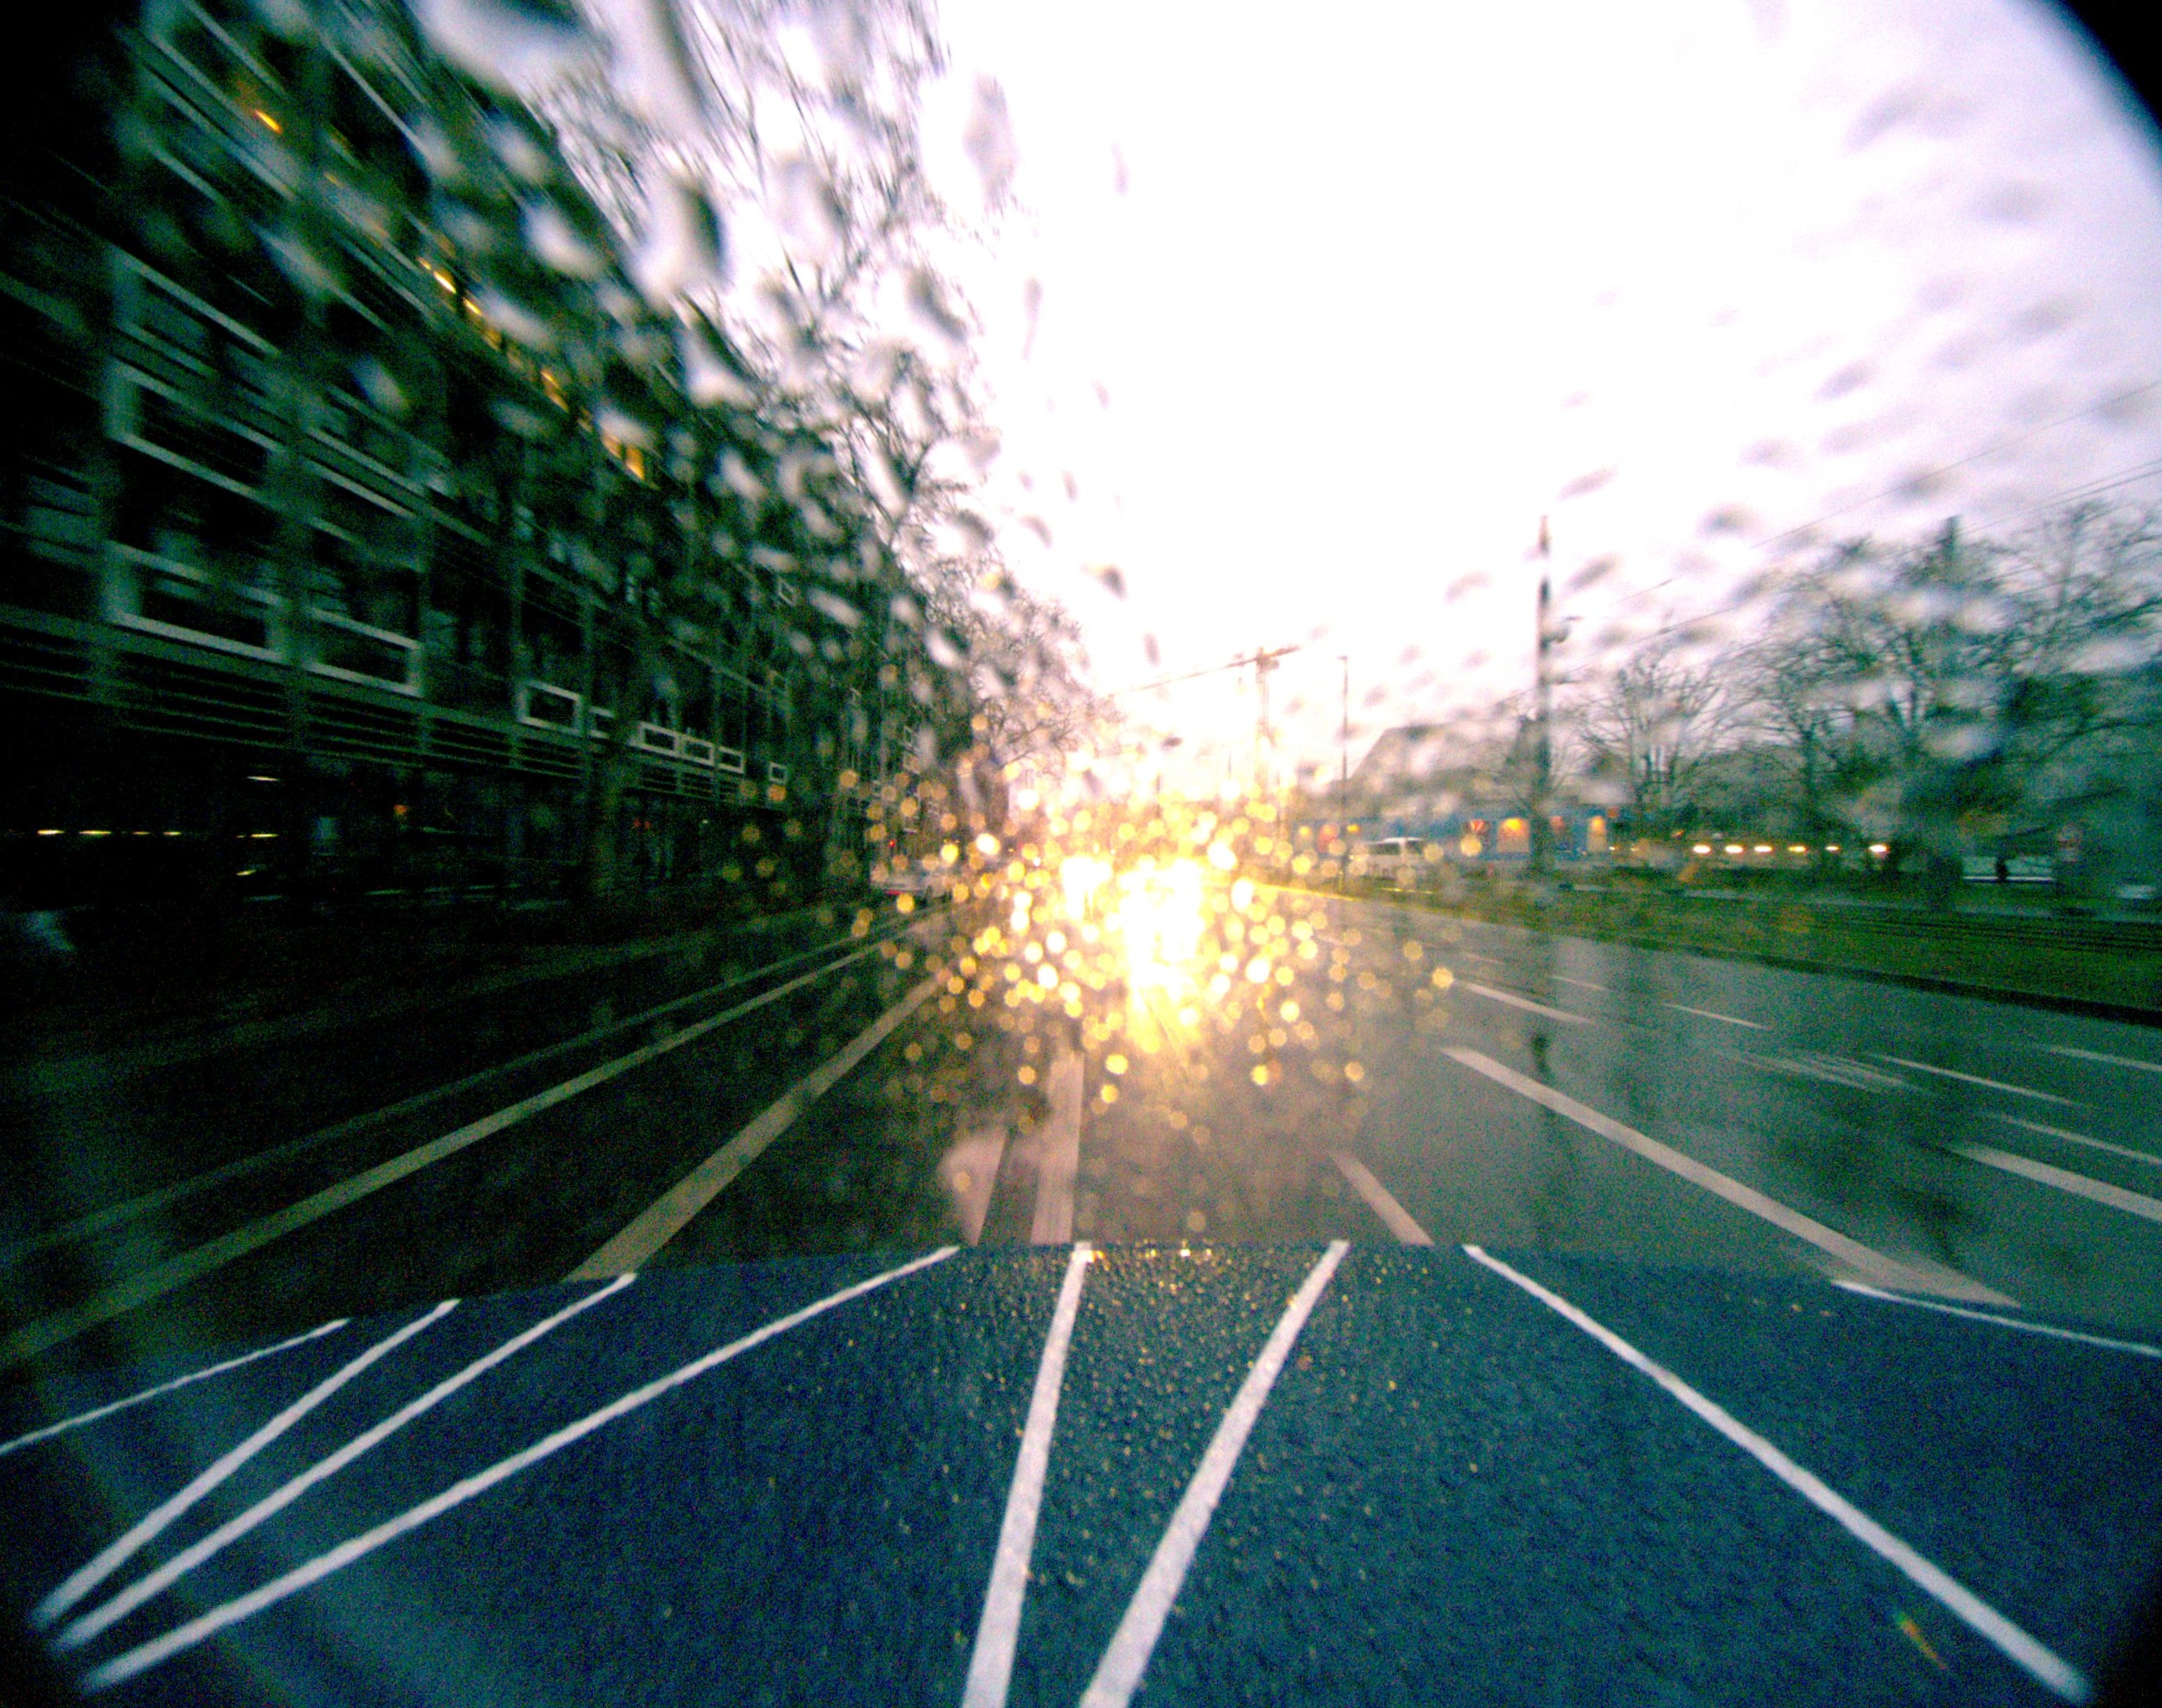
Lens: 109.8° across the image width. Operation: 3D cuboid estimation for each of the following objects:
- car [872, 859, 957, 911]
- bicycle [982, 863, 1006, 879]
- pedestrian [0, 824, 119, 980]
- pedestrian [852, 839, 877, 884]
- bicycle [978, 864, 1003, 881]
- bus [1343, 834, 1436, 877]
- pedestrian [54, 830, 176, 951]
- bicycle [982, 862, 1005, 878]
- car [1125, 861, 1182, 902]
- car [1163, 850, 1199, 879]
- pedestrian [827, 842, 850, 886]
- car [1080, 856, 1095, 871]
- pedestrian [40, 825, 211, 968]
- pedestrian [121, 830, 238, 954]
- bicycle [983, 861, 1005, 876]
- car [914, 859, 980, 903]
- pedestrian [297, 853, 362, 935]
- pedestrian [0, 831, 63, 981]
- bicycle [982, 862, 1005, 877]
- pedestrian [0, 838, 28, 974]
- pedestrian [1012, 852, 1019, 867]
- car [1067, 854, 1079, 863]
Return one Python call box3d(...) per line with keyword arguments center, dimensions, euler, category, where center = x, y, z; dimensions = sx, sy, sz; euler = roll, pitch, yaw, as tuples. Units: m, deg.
box3d(center=(-5.323, 0.936, 24.769), dimensions=(1.607, 1.424, 3.931), euler=(3, 1, 4), category="car")
box3d(center=(-5.696, 1.125, 49.717), dimensions=(1.523, 1.030, 0.469), euler=(-1, 1, -5), category="bicycle")
box3d(center=(-11.616, 0.508, 8.532), dimensions=(0.501, 1.658, 0.873), euler=(1, 1, 2), category="pedestrian")
box3d(center=(-9.690, 0.322, 34.107), dimensions=(0.791, 2.002, 1.024), euler=(1, 0, 1), category="pedestrian")
box3d(center=(-5.726, 1.136, 47.994), dimensions=(1.523, 1.030, 0.469), euler=(-1, 1, -5), category="bicycle")
box3d(center=(28.266, 0.121, 70.588), dimensions=(2.815, 3.556, 12.301), euler=(1, 0, -4), category="bus")
box3d(center=(-13.672, 0.500, 10.782), dimensions=(0.641, 1.645, 0.842), euler=(1, 1, -3), category="pedestrian")
box3d(center=(-5.882, 1.074, 51.034), dimensions=(1.523, 1.030, 0.469), euler=(-1, 1, -5), category="bicycle")
box3d(center=(2.767, 1.014, 29.725), dimensions=(1.778, 1.466, 4.129), euler=(-1, 0, -1), category="car")
box3d(center=(6.095, 0.606, 46.882), dimensions=(1.707, 1.733, 4.612), euler=(1, 0, 1), category="car")
box3d(center=(-11.324, 0.463, 35.486), dimensions=(0.822, 2.002, 0.736), euler=(1, 0, 0), category="pedestrian")
box3d(center=(0.940, 1.283, 102.901), dimensions=(1.858, 2.001, 4.001), euler=(0, -1, 2), category="car")
box3d(center=(-10.645, 0.453, 8.504), dimensions=(0.866, 1.515, 0.838), euler=(1, 1, 2), category="pedestrian")
box3d(center=(-12.836, 0.522, 10.849), dimensions=(0.660, 1.708, 0.842), euler=(1, 1, -3), category="pedestrian")
box3d(center=(-6.169, 1.032, 54.139), dimensions=(1.523, 1.030, 0.469), euler=(-1, 1, -5), category="bicycle")
box3d(center=(-5.146, 1.003, 29.692), dimensions=(1.764, 1.539, 4.019), euler=(1, 0, 2), category="car")
box3d(center=(-13.102, 0.674, 13.266), dimensions=(0.716, 1.381, 0.562), euler=(0, 1, -34), category="pedestrian")
box3d(center=(-12.118, 0.569, 8.539), dimensions=(0.379, 1.658, 0.713), euler=(1, 1, 2), category="pedestrian")
box3d(center=(-6.045, 1.072, 52.492), dimensions=(1.523, 1.030, 0.469), euler=(-1, 1, -5), category="bicycle")
box3d(center=(-12.607, 0.593, 8.547), dimensions=(0.484, 1.555, 0.745), euler=(1, 1, 1), category="pedestrian")
box3d(center=(-9.292, 0.785, 108.354), dimensions=(0.838, 2.002, 0.771), euler=(-1, 1, 1), category="pedestrian")
box3d(center=(-1.309, 0.814, 130.593), dimensions=(1.858, 1.591, 4.001), euler=(0, -1, 2), category="car")
